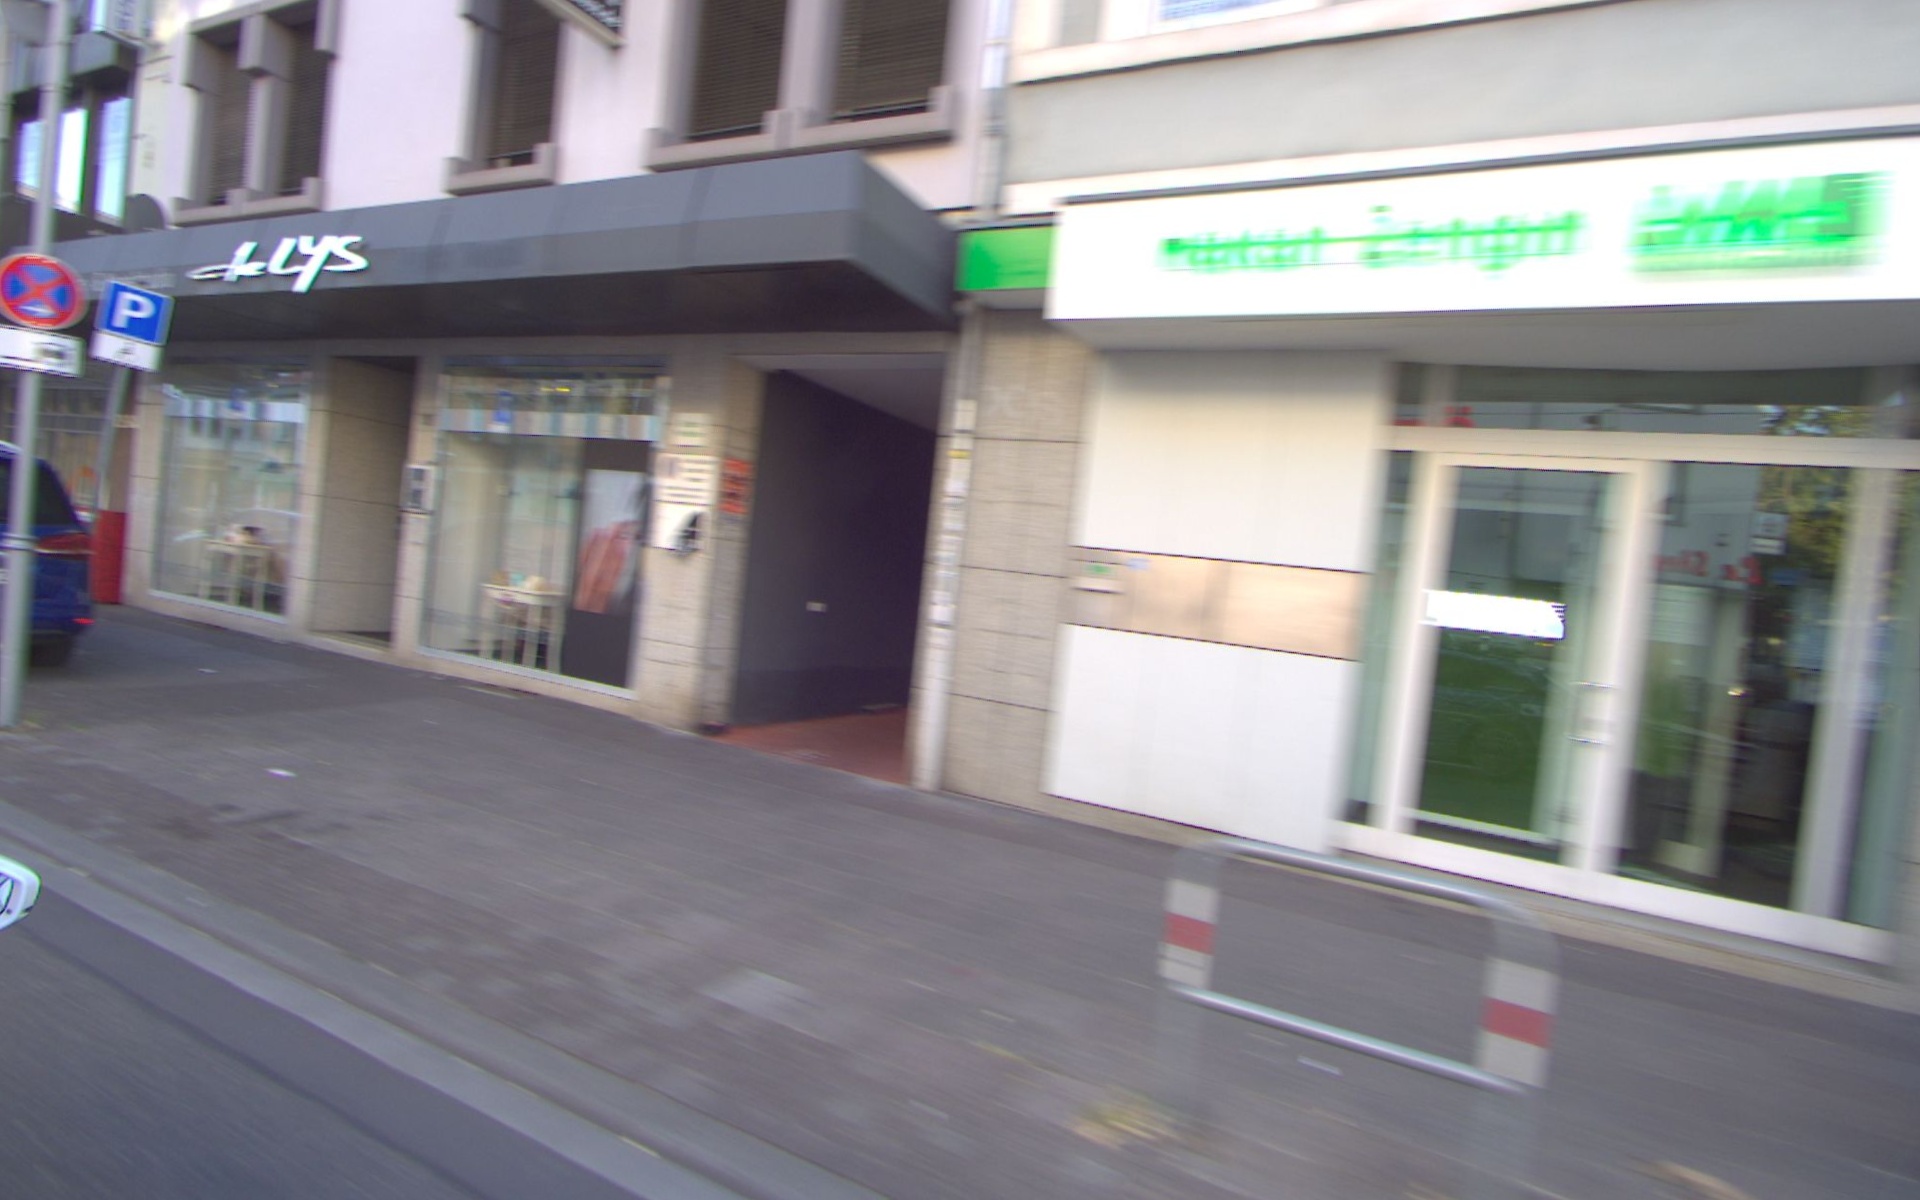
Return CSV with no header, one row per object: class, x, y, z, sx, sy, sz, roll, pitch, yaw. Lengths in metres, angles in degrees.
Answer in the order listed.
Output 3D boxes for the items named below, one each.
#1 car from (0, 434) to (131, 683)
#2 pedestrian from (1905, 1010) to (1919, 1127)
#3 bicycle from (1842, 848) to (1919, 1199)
car,-8.764,-0.527,7.894,4.484,1.741,1.916,7,4,28
pedestrian,3.600,1.039,2.983,0.855,1.568,0.698,7,2,30
bicycle,2.824,1.227,1.892,1.618,1.105,0.478,7,3,24
